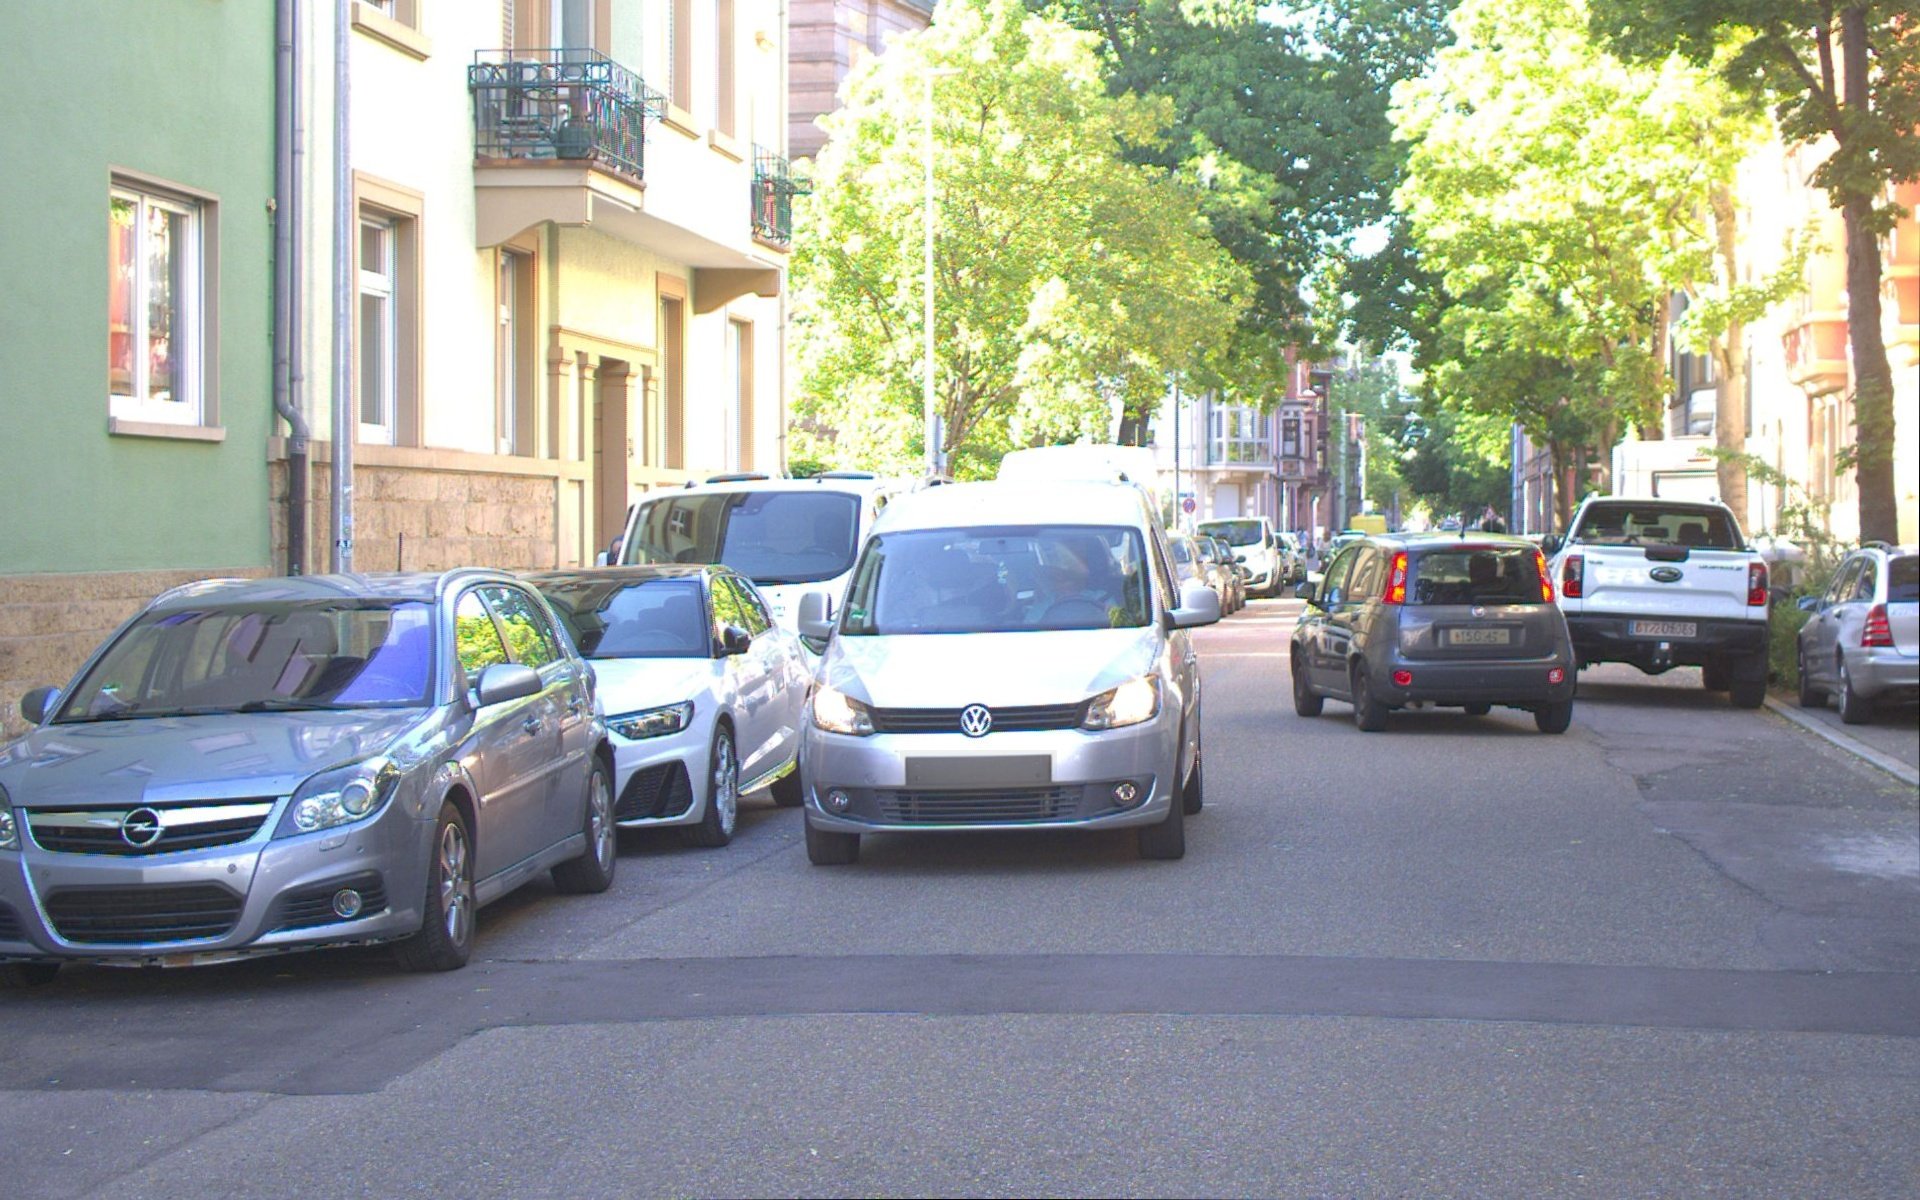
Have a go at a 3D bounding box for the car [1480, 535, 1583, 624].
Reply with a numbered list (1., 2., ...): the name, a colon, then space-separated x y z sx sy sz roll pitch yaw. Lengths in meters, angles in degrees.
1. car: 10.550 -0.402 63.667 1.679 1.539 3.799 1 1 7

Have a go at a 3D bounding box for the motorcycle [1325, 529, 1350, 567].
1. motorcycle: 14.461 -1.994 131.607 0.696 1.455 1.751 -1 1 -1

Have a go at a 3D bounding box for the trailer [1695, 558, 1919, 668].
1. trailer: 8.871 0.130 35.899 2.080 1.108 1.116 0 1 -6

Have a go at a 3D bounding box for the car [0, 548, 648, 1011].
1. car: -2.504 0.567 13.519 1.720 1.457 4.506 -2 1 5

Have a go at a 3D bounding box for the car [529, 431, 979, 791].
1. car: -1.280 0.026 24.104 2.252 2.161 5.243 -2 1 6

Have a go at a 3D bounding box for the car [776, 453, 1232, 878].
1. car: 0.361 0.263 17.482 1.771 1.837 4.415 -2 1 7

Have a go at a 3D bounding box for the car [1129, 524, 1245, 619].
1. car: 4.153 -0.549 62.407 1.676 1.567 4.150 -3 1 9

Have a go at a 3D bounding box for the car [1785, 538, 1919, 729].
1. car: 7.922 0.212 28.366 1.680 1.417 4.429 -1 1 7

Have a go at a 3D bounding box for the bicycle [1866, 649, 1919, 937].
1. bicycle: 4.074 0.761 13.872 0.706 1.042 1.857 4 1 14

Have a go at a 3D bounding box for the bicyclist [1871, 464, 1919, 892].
1. bicyclist: 4.136 0.315 13.979 0.715 1.683 0.981 3 1 13

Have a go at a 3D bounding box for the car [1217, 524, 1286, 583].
1. car: 8.388 -1.359 98.792 1.825 1.548 4.133 -4 1 6

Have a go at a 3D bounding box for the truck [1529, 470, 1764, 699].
1. truck: 6.349 -0.204 32.292 1.829 1.942 5.539 1 1 8

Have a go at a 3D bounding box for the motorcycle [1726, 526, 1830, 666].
1. motorcycle: 8.977 -0.063 37.818 0.930 1.481 2.137 1 1 9

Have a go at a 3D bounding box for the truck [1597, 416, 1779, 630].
1. truck: 10.926 -1.158 51.985 2.074 2.958 6.108 -2 1 7

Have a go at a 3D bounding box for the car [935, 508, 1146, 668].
1. car: 1.008 -0.189 39.813 1.876 1.679 4.968 -2 1 7

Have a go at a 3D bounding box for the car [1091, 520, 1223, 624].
1. car: 3.264 -0.487 56.268 1.781 1.585 4.468 -2 1 7

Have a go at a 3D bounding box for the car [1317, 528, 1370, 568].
1. car: 15.051 -2.043 134.852 1.797 1.427 3.923 -3 1 9

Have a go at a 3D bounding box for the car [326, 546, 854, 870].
1. car: -1.833 0.486 18.496 1.833 1.457 4.362 -2 1 7

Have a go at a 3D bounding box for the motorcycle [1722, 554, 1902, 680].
1. motorcycle: 8.575 0.160 34.577 1.759 1.236 0.702 0 1 -31

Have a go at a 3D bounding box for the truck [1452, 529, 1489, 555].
1. truck: 28.853 -3.304 194.382 1.994 1.451 3.999 0 1 8

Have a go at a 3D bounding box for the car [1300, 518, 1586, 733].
1. car: 3.686 0.155 26.694 1.632 1.545 3.265 -1 1 -2

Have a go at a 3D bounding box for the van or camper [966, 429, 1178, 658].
1. van or camper: 1.566 -0.759 45.549 2.129 2.759 5.850 -2 1 8

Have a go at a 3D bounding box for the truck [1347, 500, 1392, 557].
1. truck: 22.293 -3.907 186.929 2.071 2.916 5.066 -4 1 9

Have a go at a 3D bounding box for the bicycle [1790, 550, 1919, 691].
1. bicycle: 8.722 0.189 32.221 1.759 1.300 0.586 0 1 7

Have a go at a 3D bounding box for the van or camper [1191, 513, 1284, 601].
1. van or camper: 6.746 -1.059 83.068 1.922 1.973 5.460 -3 1 7
